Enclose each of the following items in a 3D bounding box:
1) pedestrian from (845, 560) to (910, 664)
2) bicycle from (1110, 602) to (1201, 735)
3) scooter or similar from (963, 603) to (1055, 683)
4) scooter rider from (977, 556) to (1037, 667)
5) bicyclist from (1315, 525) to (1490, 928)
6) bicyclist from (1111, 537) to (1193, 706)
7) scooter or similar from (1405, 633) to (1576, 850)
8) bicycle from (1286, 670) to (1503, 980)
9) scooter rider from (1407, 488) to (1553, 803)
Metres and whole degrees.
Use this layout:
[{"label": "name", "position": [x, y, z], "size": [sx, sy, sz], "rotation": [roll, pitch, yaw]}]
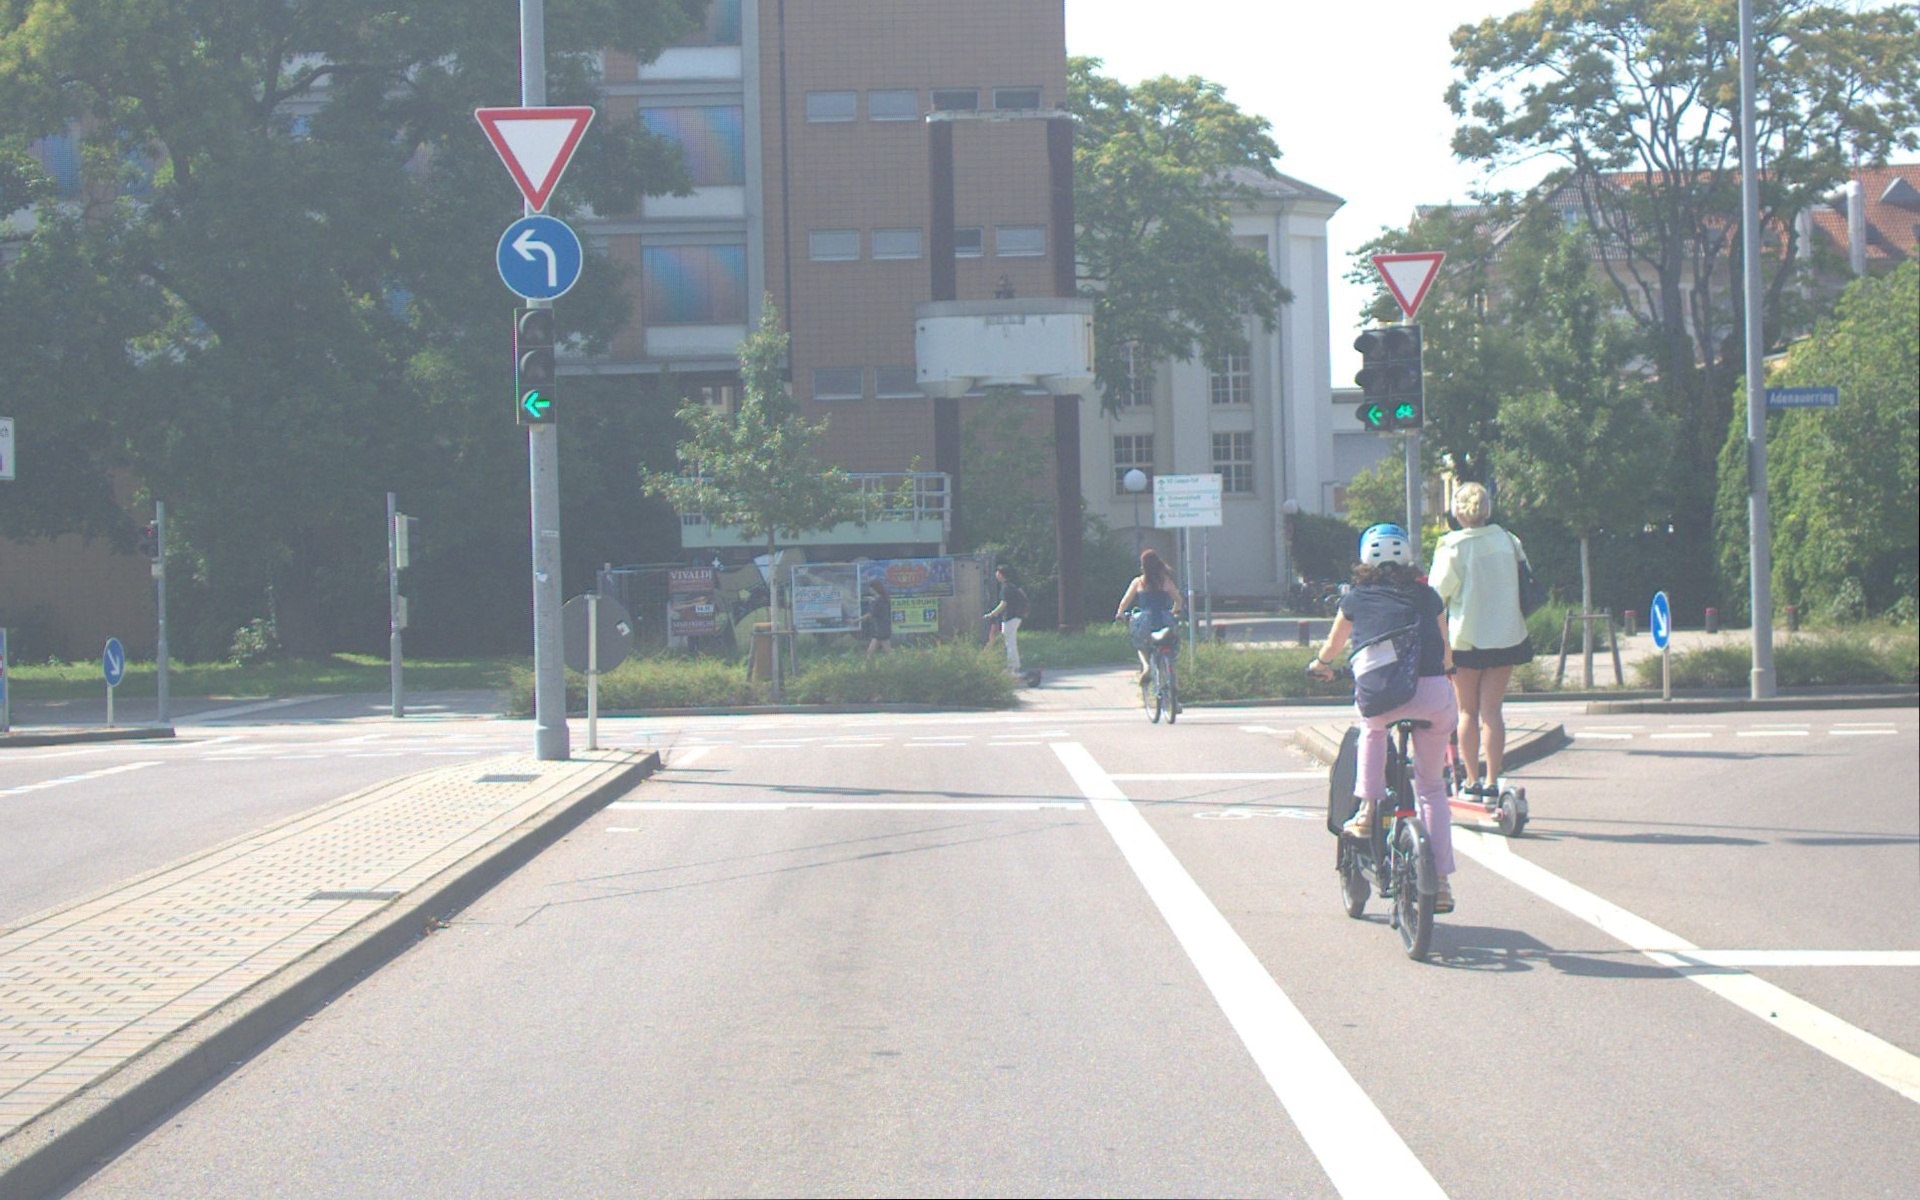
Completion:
[{"label": "pedestrian", "position": [-1.386, 0.206, 57.887], "size": [0.877, 1.698, 0.707], "rotation": [-1, 2, 17]}, {"label": "bicycle", "position": [1.888, 0.643, 33.404], "size": [0.693, 1.151, 2.371], "rotation": [-2, 2, 0]}, {"label": "scooter or similar", "position": [0.783, 0.686, 55.006], "size": [1.364, 1.230, 0.585], "rotation": [-2, 0, 10]}, {"label": "scooter rider", "position": [0.751, 0.181, 54.948], "size": [0.803, 1.733, 0.688], "rotation": [-2, 0, 10]}, {"label": "bicyclist", "position": [1.681, 0.465, 13.147], "size": [0.548, 1.491, 0.804], "rotation": [0, 1, -1]}, {"label": "bicyclist", "position": [1.869, 0.199, 33.550], "size": [0.690, 1.593, 0.844], "rotation": [-2, 2, -1]}, {"label": "scooter or similar", "position": [2.873, 0.741, 18.788], "size": [0.556, 1.056, 2.004], "rotation": [-2, 1, -1]}, {"label": "bicycle", "position": [1.676, 0.839, 13.508], "size": [0.556, 1.056, 2.004], "rotation": [0, 1, -1]}, {"label": "scooter rider", "position": [2.867, 0.244, 19.006], "size": [0.670, 1.694, 0.539], "rotation": [-2, 1, -1]}]
